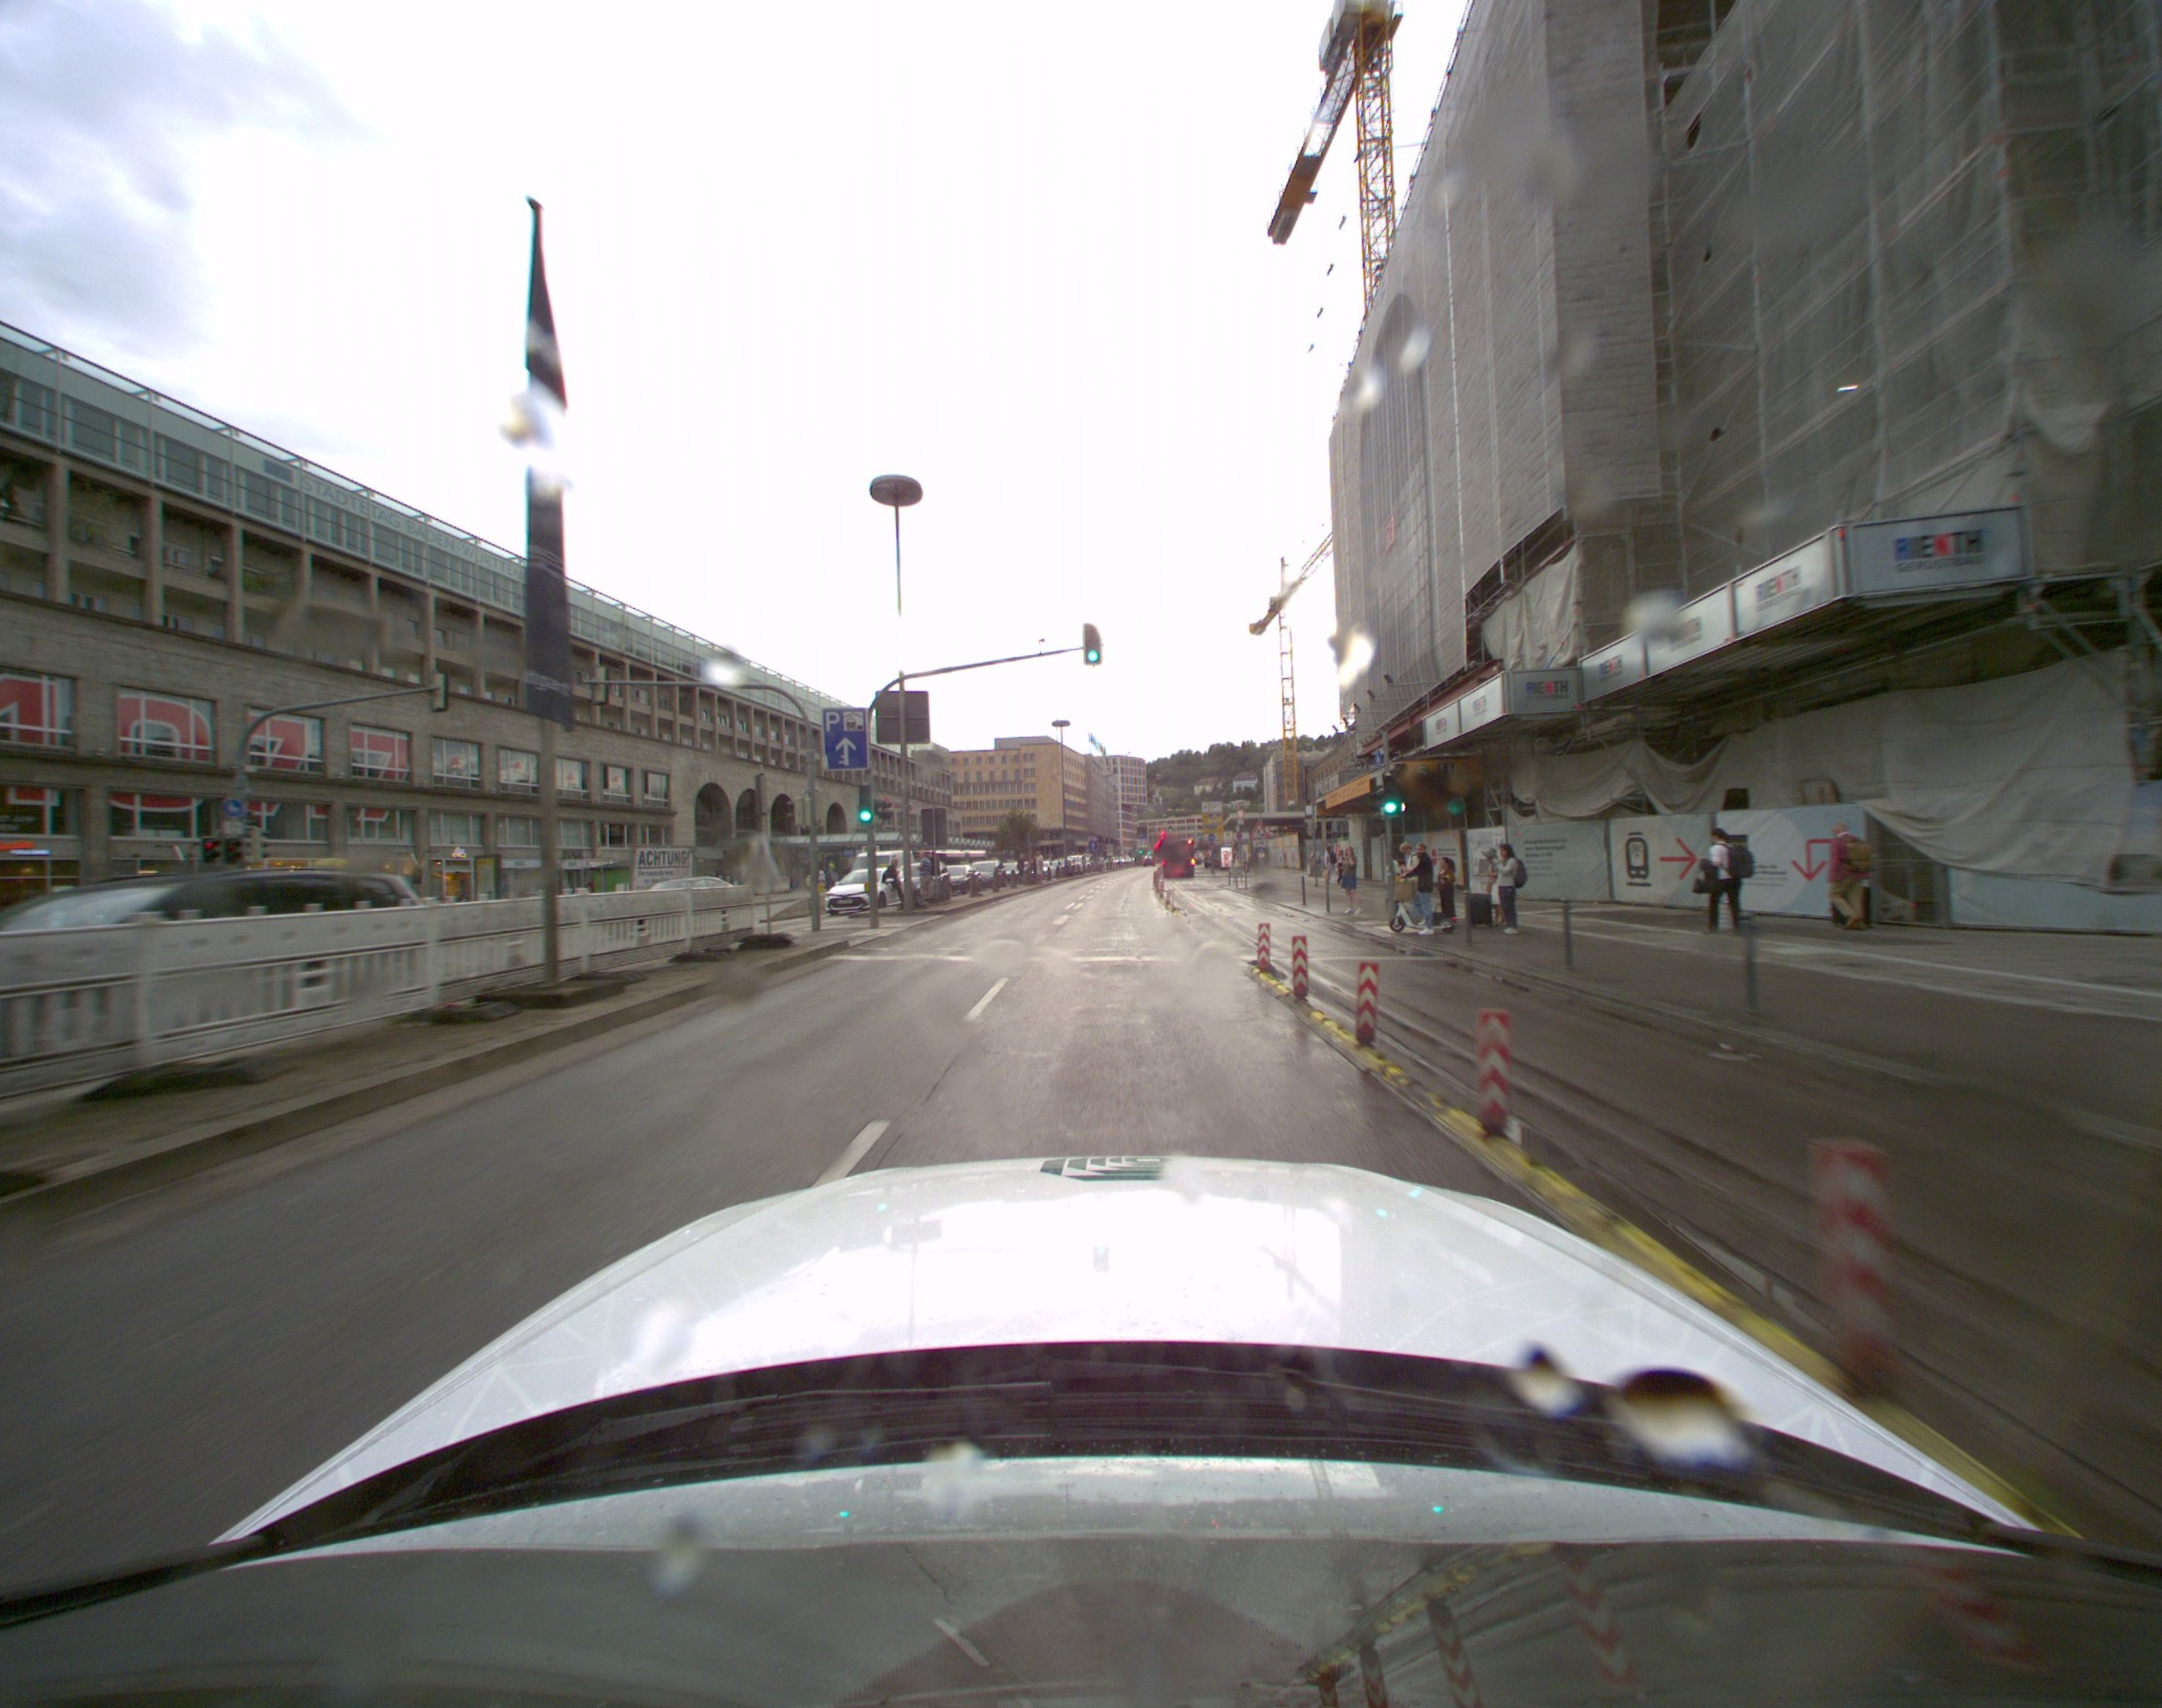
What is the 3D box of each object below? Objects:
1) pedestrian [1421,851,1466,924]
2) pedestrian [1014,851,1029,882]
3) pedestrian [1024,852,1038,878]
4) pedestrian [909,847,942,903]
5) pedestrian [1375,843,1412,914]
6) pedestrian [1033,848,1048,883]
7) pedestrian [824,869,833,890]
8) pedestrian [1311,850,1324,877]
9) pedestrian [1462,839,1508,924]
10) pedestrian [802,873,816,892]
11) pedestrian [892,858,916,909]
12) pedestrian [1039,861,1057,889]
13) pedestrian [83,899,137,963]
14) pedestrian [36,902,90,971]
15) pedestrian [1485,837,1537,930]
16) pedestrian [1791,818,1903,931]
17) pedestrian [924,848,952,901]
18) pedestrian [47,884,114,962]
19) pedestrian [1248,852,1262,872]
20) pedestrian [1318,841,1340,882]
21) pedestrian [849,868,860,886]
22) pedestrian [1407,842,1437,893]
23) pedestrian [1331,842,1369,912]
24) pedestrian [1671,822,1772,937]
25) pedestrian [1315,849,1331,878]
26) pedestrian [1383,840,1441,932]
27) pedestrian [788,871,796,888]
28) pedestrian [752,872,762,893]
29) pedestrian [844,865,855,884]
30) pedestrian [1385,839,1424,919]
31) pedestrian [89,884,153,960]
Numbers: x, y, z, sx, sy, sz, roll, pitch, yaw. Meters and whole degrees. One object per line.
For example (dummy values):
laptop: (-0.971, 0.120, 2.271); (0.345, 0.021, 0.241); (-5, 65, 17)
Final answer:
pedestrian: (7.525, 0.688, 16.928); (0.555, 1.449, 0.713); (-5, -1, 7)
pedestrian: (-3.424, 0.728, 47.020); (0.695, 1.755, 0.713); (-2, 0, 6)
pedestrian: (-3.108, 0.705, 50.800); (0.719, 1.606, 0.997); (-1, 0, 6)
pedestrian: (-5.132, 0.691, 26.862); (0.552, 1.775, 0.757); (-5, -1, 40)
pedestrian: (7.617, 0.587, 19.879); (0.555, 1.641, 0.753); (-5, -1, 7)
pedestrian: (-2.335, 0.638, 46.942); (0.719, 2.008, 0.774); (-1, 0, 6)
pedestrian: (-18.295, 1.848, 59.029); (0.586, 1.507, 0.621); (-1, 0, -24)
pedestrian: (16.887, 0.676, 58.174); (0.641, 1.847, 0.660); (-5, -1, 6)
pedestrian: (8.151, 0.549, 16.443); (0.560, 1.651, 0.616); (-5, -1, 10)
pedestrian: (-21.205, 2.207, 63.455); (0.927, 1.393, 0.698); (-1, 0, -24)
pedestrian: (-5.985, 0.983, 27.587); (0.648, 1.711, 0.594); (-1, 0, 4)
pedestrian: (-2.162, 1.367, 53.701); (1.045, 1.768, 0.617); (-2, -1, 5)
pedestrian: (-25.333, 1.998, 21.263); (0.475, 1.572, 0.749); (-4, -1, -12)
pedestrian: (-25.840, 2.081, 20.680); (0.528, 1.642, 0.607); (-4, -1, -14)
pedestrian: (7.922, 0.533, 15.032); (0.555, 1.651, 0.616); (-5, -1, 7)
pedestrian: (12.000, 0.315, 12.799); (0.728, 1.682, 1.112); (-2, -1, 8)
pedestrian: (-4.969, 0.702, 28.421); (0.781, 1.775, 0.605); (-4, -1, -6)
pedestrian: (-22.533, 1.540, 18.351); (0.595, 1.685, 0.659); (3, 0, 3)
pedestrian: (14.908, 0.690, 69.899); (0.897, 1.635, 0.833); (-2, -1, 34)
pedestrian: (11.576, 0.365, 38.070); (0.719, 1.847, 0.811); (-5, -1, 6)
pedestrian: (-18.075, 1.843, 64.978); (0.708, 1.393, 0.698); (-1, 0, -24)
pedestrian: (11.242, 0.435, 26.857); (0.546, 1.632, 0.997); (-5, -1, 6)
pedestrian: (7.058, 0.604, 21.411); (0.557, 1.759, 0.750); (-4, -1, -7)
pedestrian: (9.996, 0.383, 12.757); (0.732, 1.677, 0.959); (-5, -1, 5)
pedestrian: (13.218, 0.500, 44.485); (0.648, 1.540, 0.666); (-5, -1, 7)
pedestrian: (6.467, 0.613, 15.906); (0.584, 1.741, 0.813); (-1, -1, -37)
pedestrian: (-23.688, 2.105, 66.691); (0.558, 1.393, 0.475); (-1, 0, -24)
pedestrian: (-21.476, 1.900, 54.002); (0.558, 1.393, 0.475); (-1, 0, -24)
pedestrian: (-17.623, 1.566, 61.986); (0.708, 1.393, 0.698); (-1, 0, -24)
pedestrian: (7.390, 0.562, 18.632); (0.555, 1.752, 0.713); (-5, -1, 7)
pedestrian: (-22.513, 1.572, 19.099); (0.746, 1.685, 0.560); (-5, -1, 3)
